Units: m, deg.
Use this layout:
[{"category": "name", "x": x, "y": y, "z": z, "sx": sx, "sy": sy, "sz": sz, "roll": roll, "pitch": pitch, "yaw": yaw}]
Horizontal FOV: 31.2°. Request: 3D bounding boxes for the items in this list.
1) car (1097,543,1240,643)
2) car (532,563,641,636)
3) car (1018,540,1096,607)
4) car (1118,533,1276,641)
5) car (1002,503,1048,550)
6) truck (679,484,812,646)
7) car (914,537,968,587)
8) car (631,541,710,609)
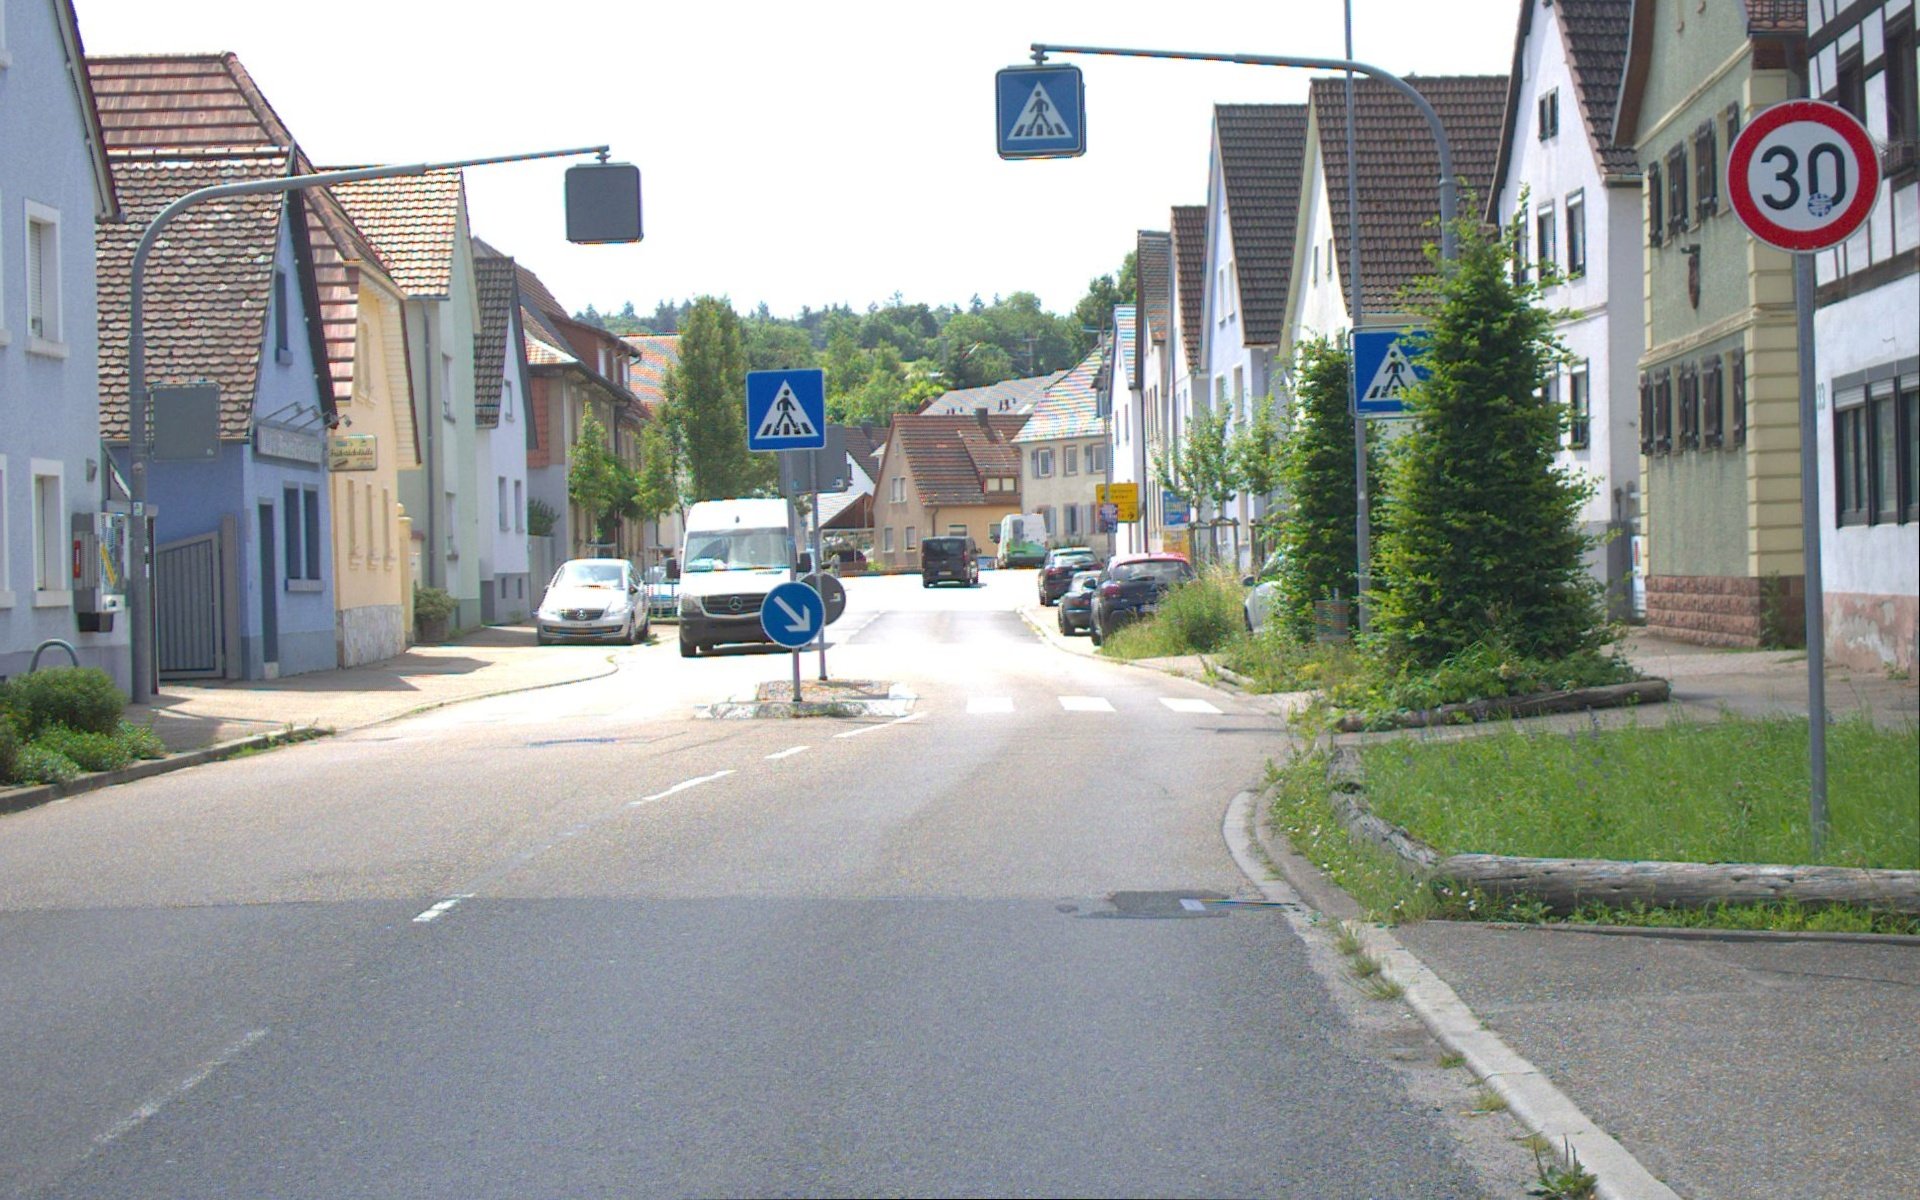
[{"category": "car", "x": 3.280, "y": -0.089, "z": 54.842, "sx": 1.993, "sy": 1.503, "sz": 4.000, "roll": 0, "pitch": -1, "yaw": -1}, {"category": "car", "x": -7.093, "y": 0.008, "z": 65.469, "sx": 1.993, "sy": 1.317, "sz": 3.709, "roll": 0, "pitch": -1, "yaw": -6}, {"category": "car", "x": 2.759, "y": -0.727, "z": 98.539, "sx": 1.993, "sy": 1.810, "sz": 4.000, "roll": 0, "pitch": -1, "yaw": -2}, {"category": "car", "x": 3.449, "y": -0.163, "z": 50.728, "sx": 1.993, "sy": 1.503, "sz": 4.000, "roll": 0, "pitch": -1, "yaw": -1}, {"category": "car", "x": 3.012, "y": -3.411, "z": 159.780, "sx": 1.993, "sy": 2.007, "sz": 4.000, "roll": 0, "pitch": -1, "yaw": -1}, {"category": "truck", "x": -3.560, "y": -0.513, "z": 58.119, "sx": 1.993, "sy": 2.528, "sz": 6.739, "roll": 0, "pitch": -1, "yaw": -1}, {"category": "car", "x": -0.764, "y": -1.485, "z": 135.481, "sx": 1.993, "sy": 1.810, "sz": 4.000, "roll": 0, "pitch": -1, "yaw": -2}, {"category": "car", "x": -7.181, "y": -0.598, "z": 85.617, "sx": 1.667, "sy": 1.590, "sz": 4.000, "roll": 0, "pitch": -1, "yaw": -1}]
